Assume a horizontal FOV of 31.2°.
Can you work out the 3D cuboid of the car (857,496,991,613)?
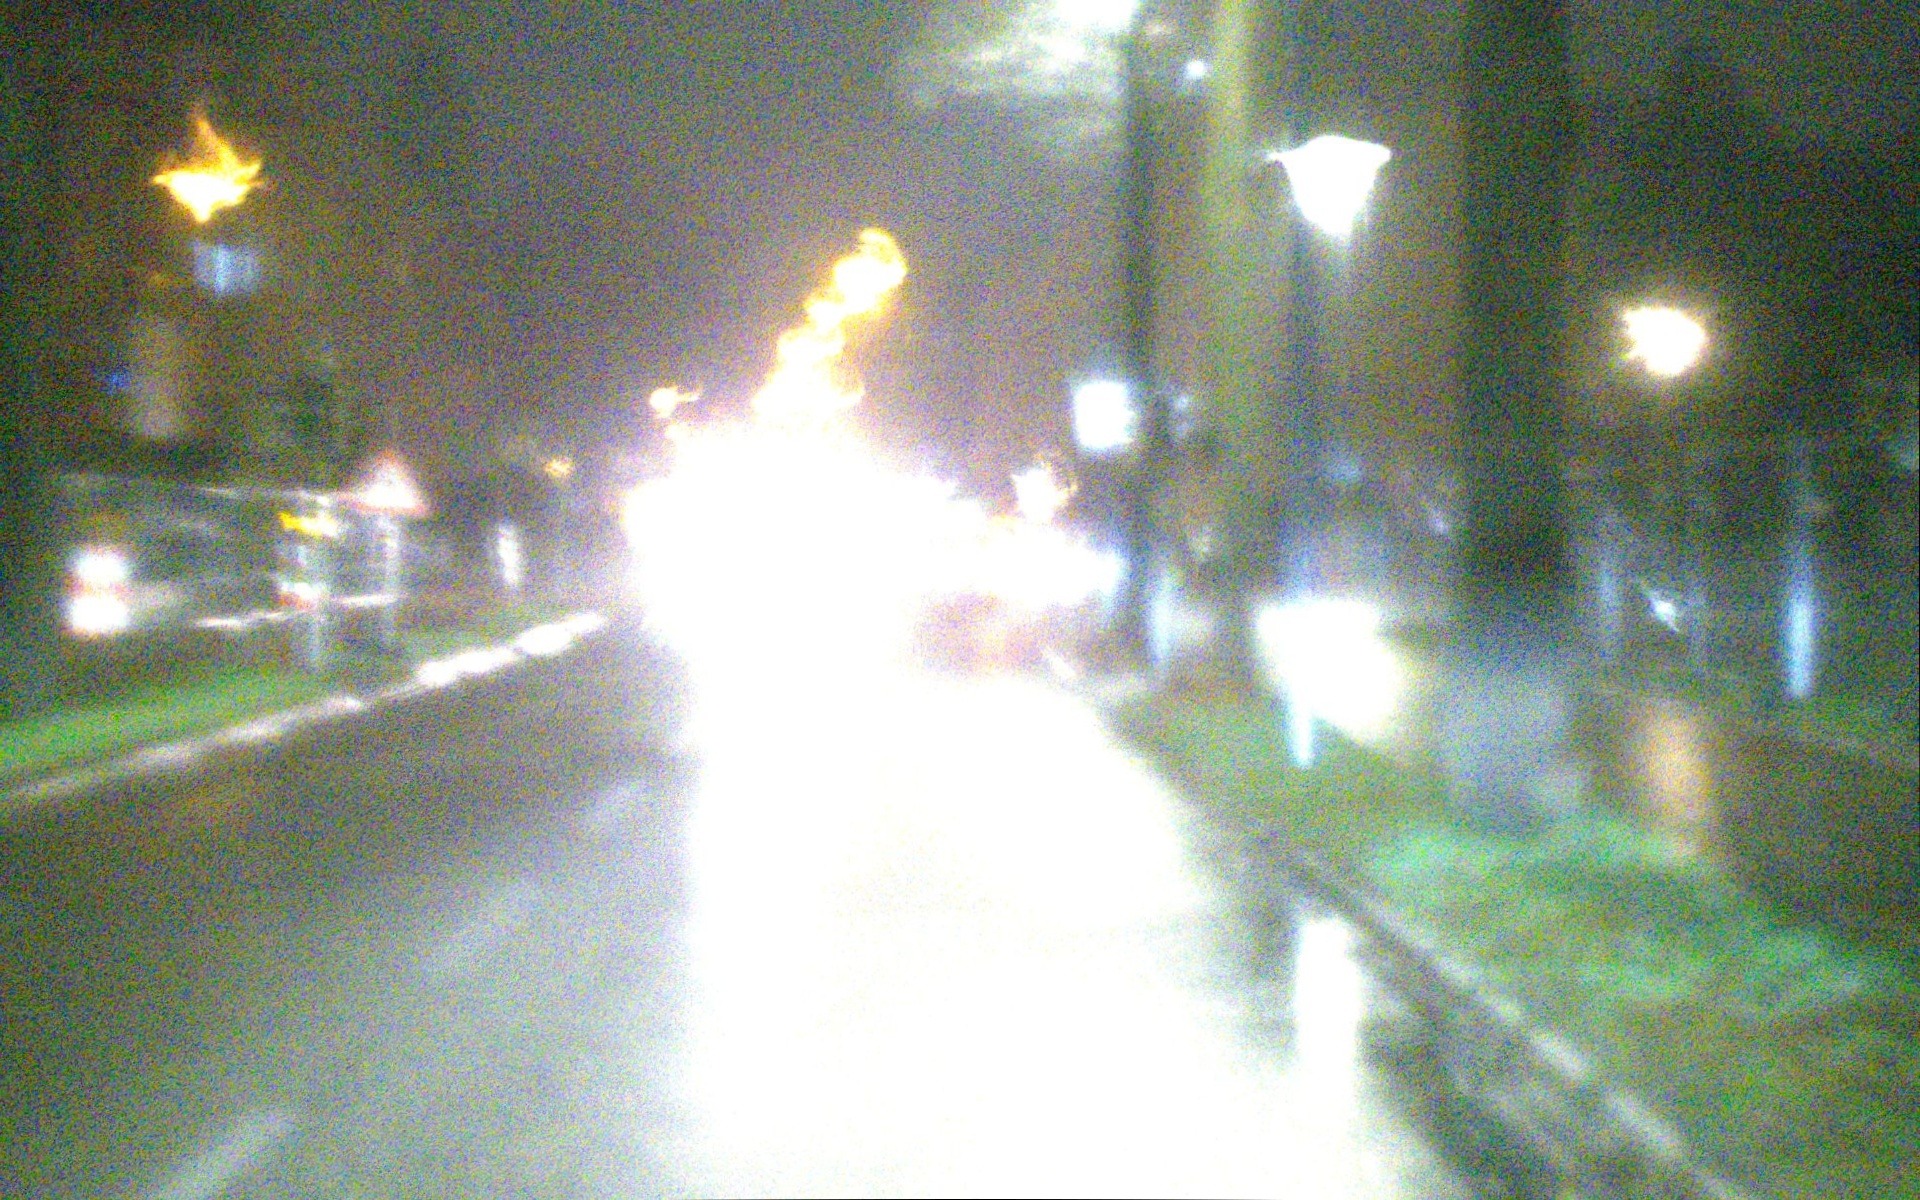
[{"bbox_3d":[-0.550,-0.735,53.281,1.993,1.678,4.001,0,3,0],"label":"car"}]

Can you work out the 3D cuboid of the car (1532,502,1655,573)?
[{"bbox_3d":[14.548,-1.469,79.241,1.829,1.542,4.867,-1,2,-1],"label":"car"}]

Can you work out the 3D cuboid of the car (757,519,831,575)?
[{"bbox_3d":[-4.426,-1.438,92.188,1.745,1.428,4.000,-1,1,0],"label":"car"}]

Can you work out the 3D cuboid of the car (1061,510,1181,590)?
[{"bbox_3d":[3.165,-1.025,68.471,1.789,1.444,4.792,-2,2,-4],"label":"car"}]

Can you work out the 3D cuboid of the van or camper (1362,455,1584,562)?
[{"bbox_3d":[12.431,-2.239,83.590,5.062,2.518,2.172,0,2,0],"label":"van or camper"}]

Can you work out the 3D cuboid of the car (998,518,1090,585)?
[{"bbox_3d":[1.914,-1.133,79.456,1.713,1.483,4.437,-1,1,-4],"label":"car"}]
